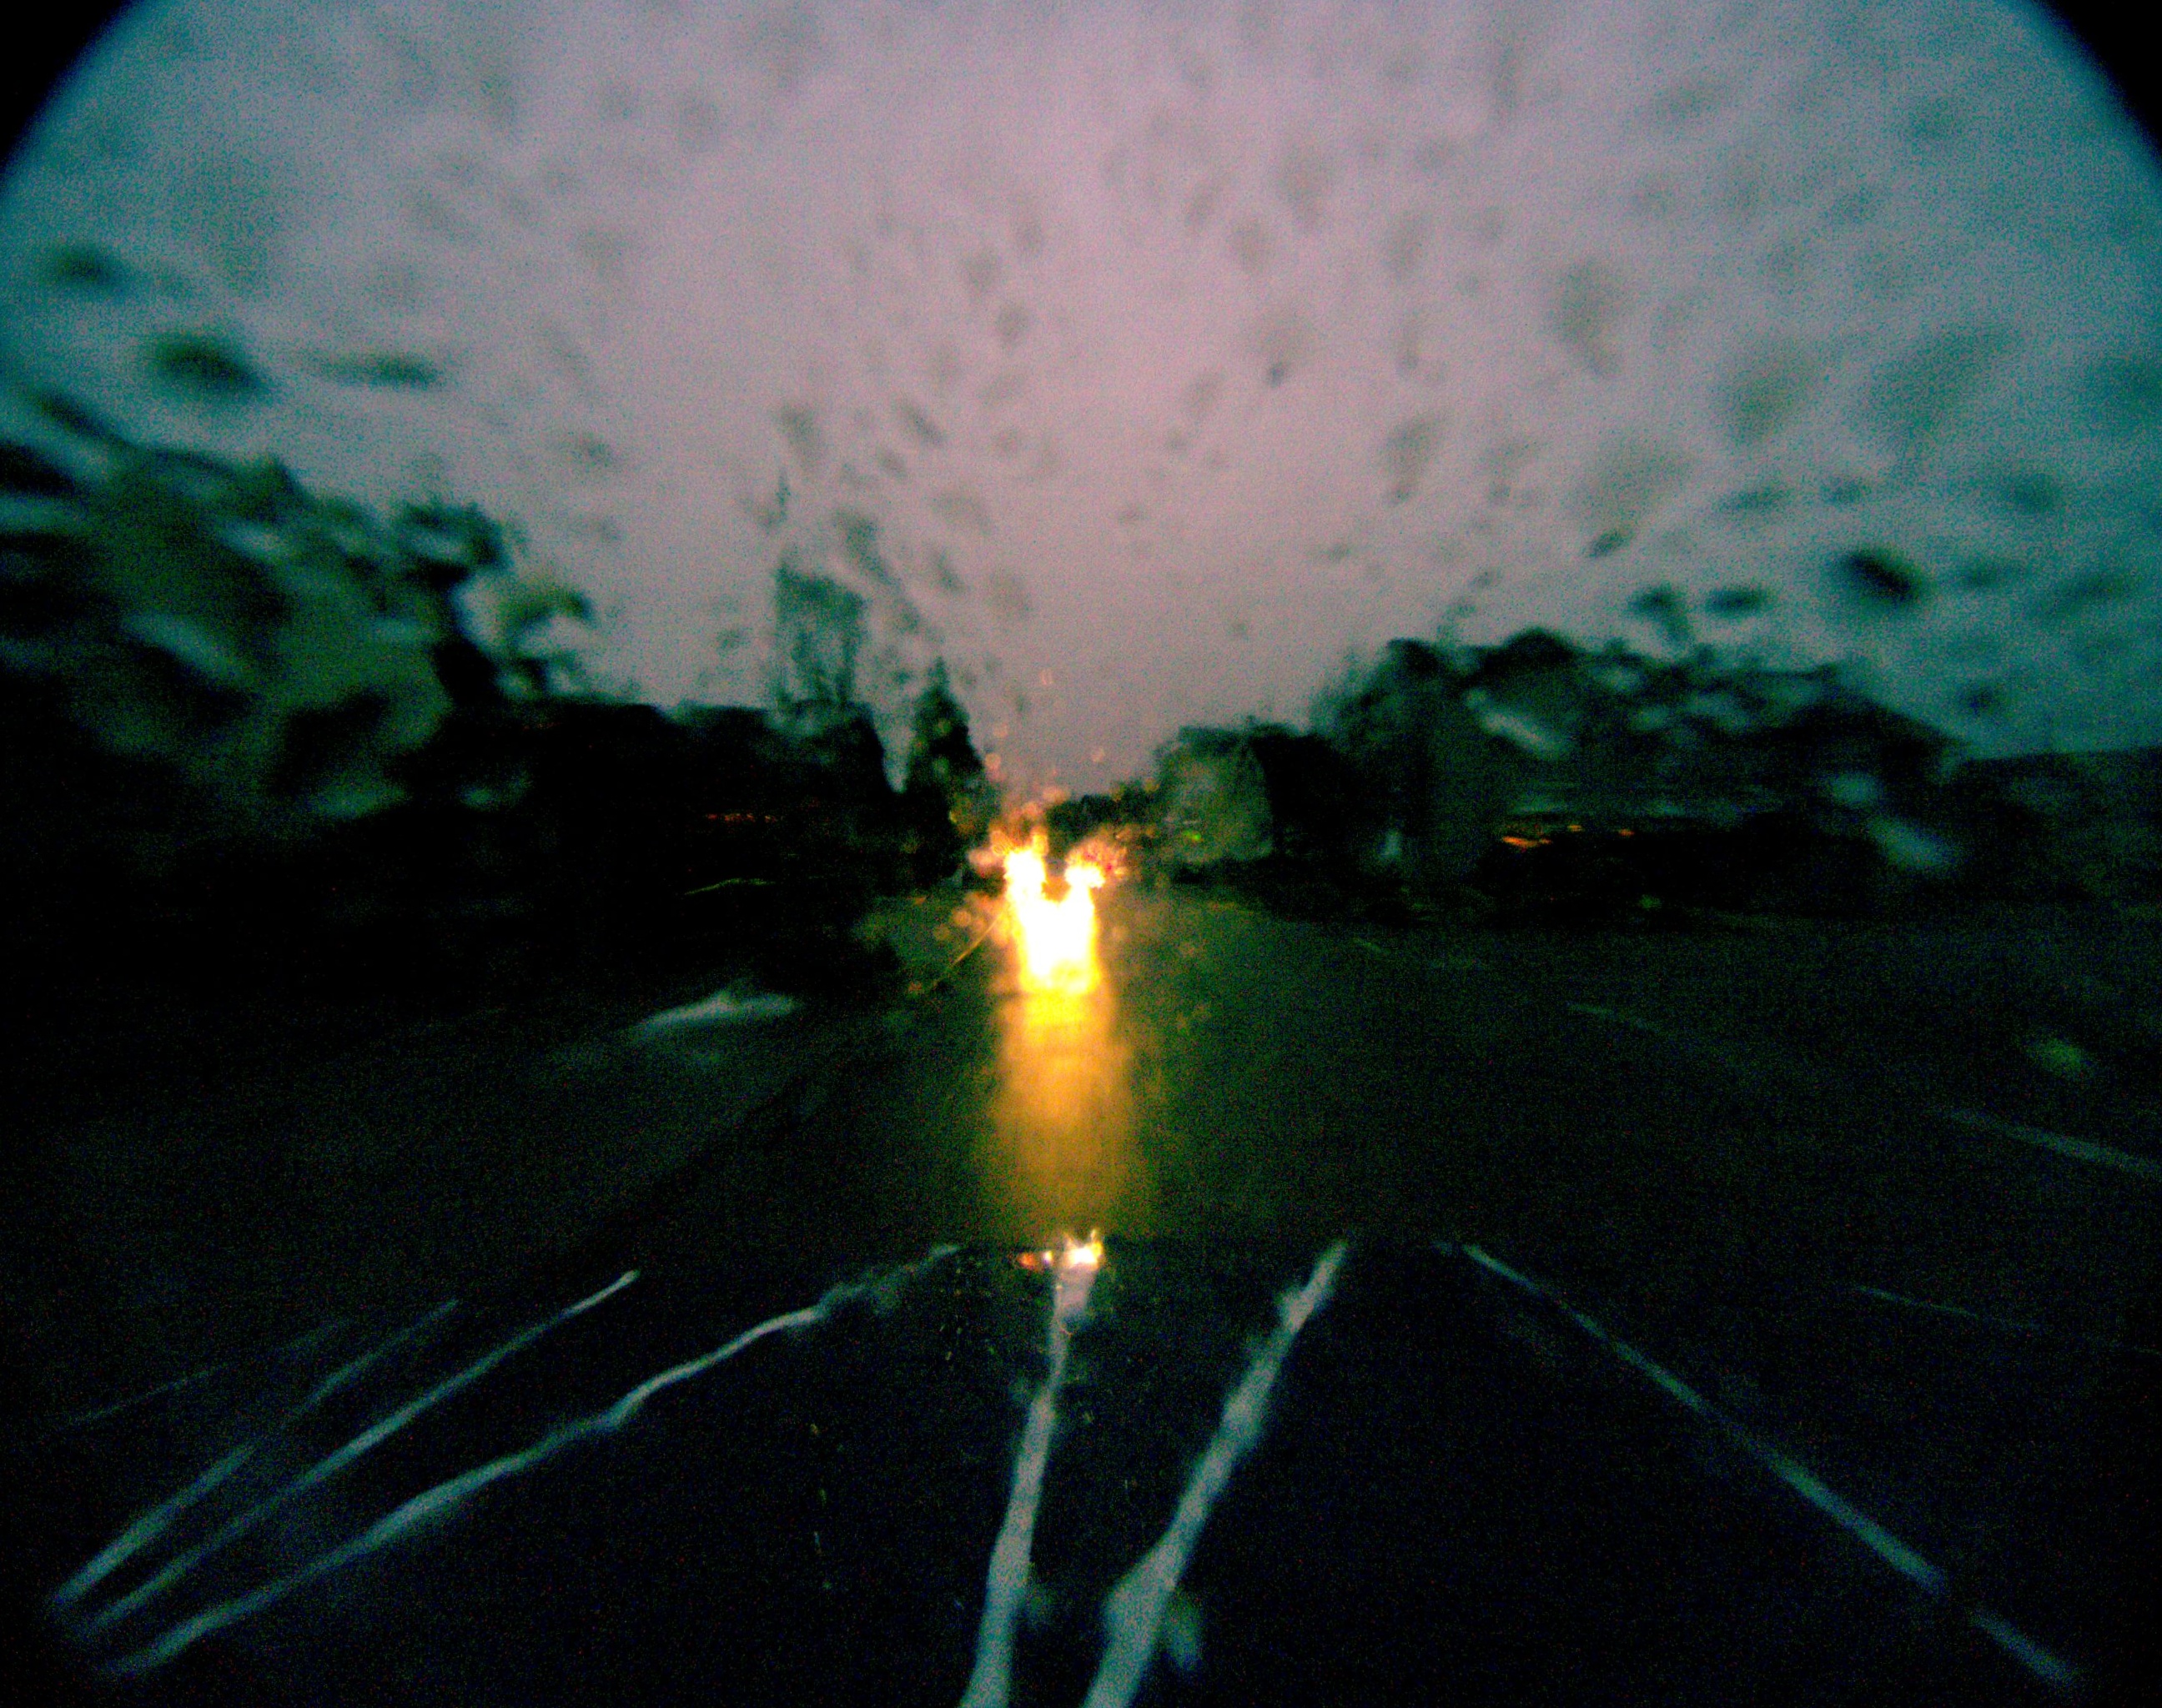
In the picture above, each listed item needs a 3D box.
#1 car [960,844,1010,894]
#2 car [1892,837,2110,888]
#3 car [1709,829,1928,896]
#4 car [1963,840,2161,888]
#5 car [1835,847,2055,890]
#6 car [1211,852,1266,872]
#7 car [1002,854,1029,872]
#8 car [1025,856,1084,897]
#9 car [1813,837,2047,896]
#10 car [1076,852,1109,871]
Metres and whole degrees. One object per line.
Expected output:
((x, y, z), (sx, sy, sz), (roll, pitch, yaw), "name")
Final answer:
((-4.254, 0.619, 34.189), (1.984, 2.002, 5.741), (2, 0, -6), "car")
((28.964, 0.253, 24.117), (1.900, 1.459, 3.993), (-1, 0, -19), "car")
((20.132, 0.217, 21.015), (1.999, 1.641, 3.998), (-1, 0, -6), "car")
((31.820, 0.305, 24.528), (2.003, 1.394, 3.992), (-1, 0, -26), "car")
((26.272, 0.415, 23.309), (2.001, 1.160, 3.994), (-1, 0, -17), "car")
((13.047, 0.623, 62.970), (4.001, 1.591, 1.920), (1, 0, -11), "car")
((-6.321, 0.828, 73.025), (2.001, 1.660, 3.995), (0, 0, -14), "car")
((-1.194, 0.915, 32.562), (2.000, 1.575, 3.996), (1, 0, -10), "car")
((23.673, 0.328, 21.437), (1.898, 1.459, 3.996), (-1, 0, -10), "car")
((0.864, 0.565, 60.480), (1.913, 1.479, 4.564), (-1, 0, -8), "car")
